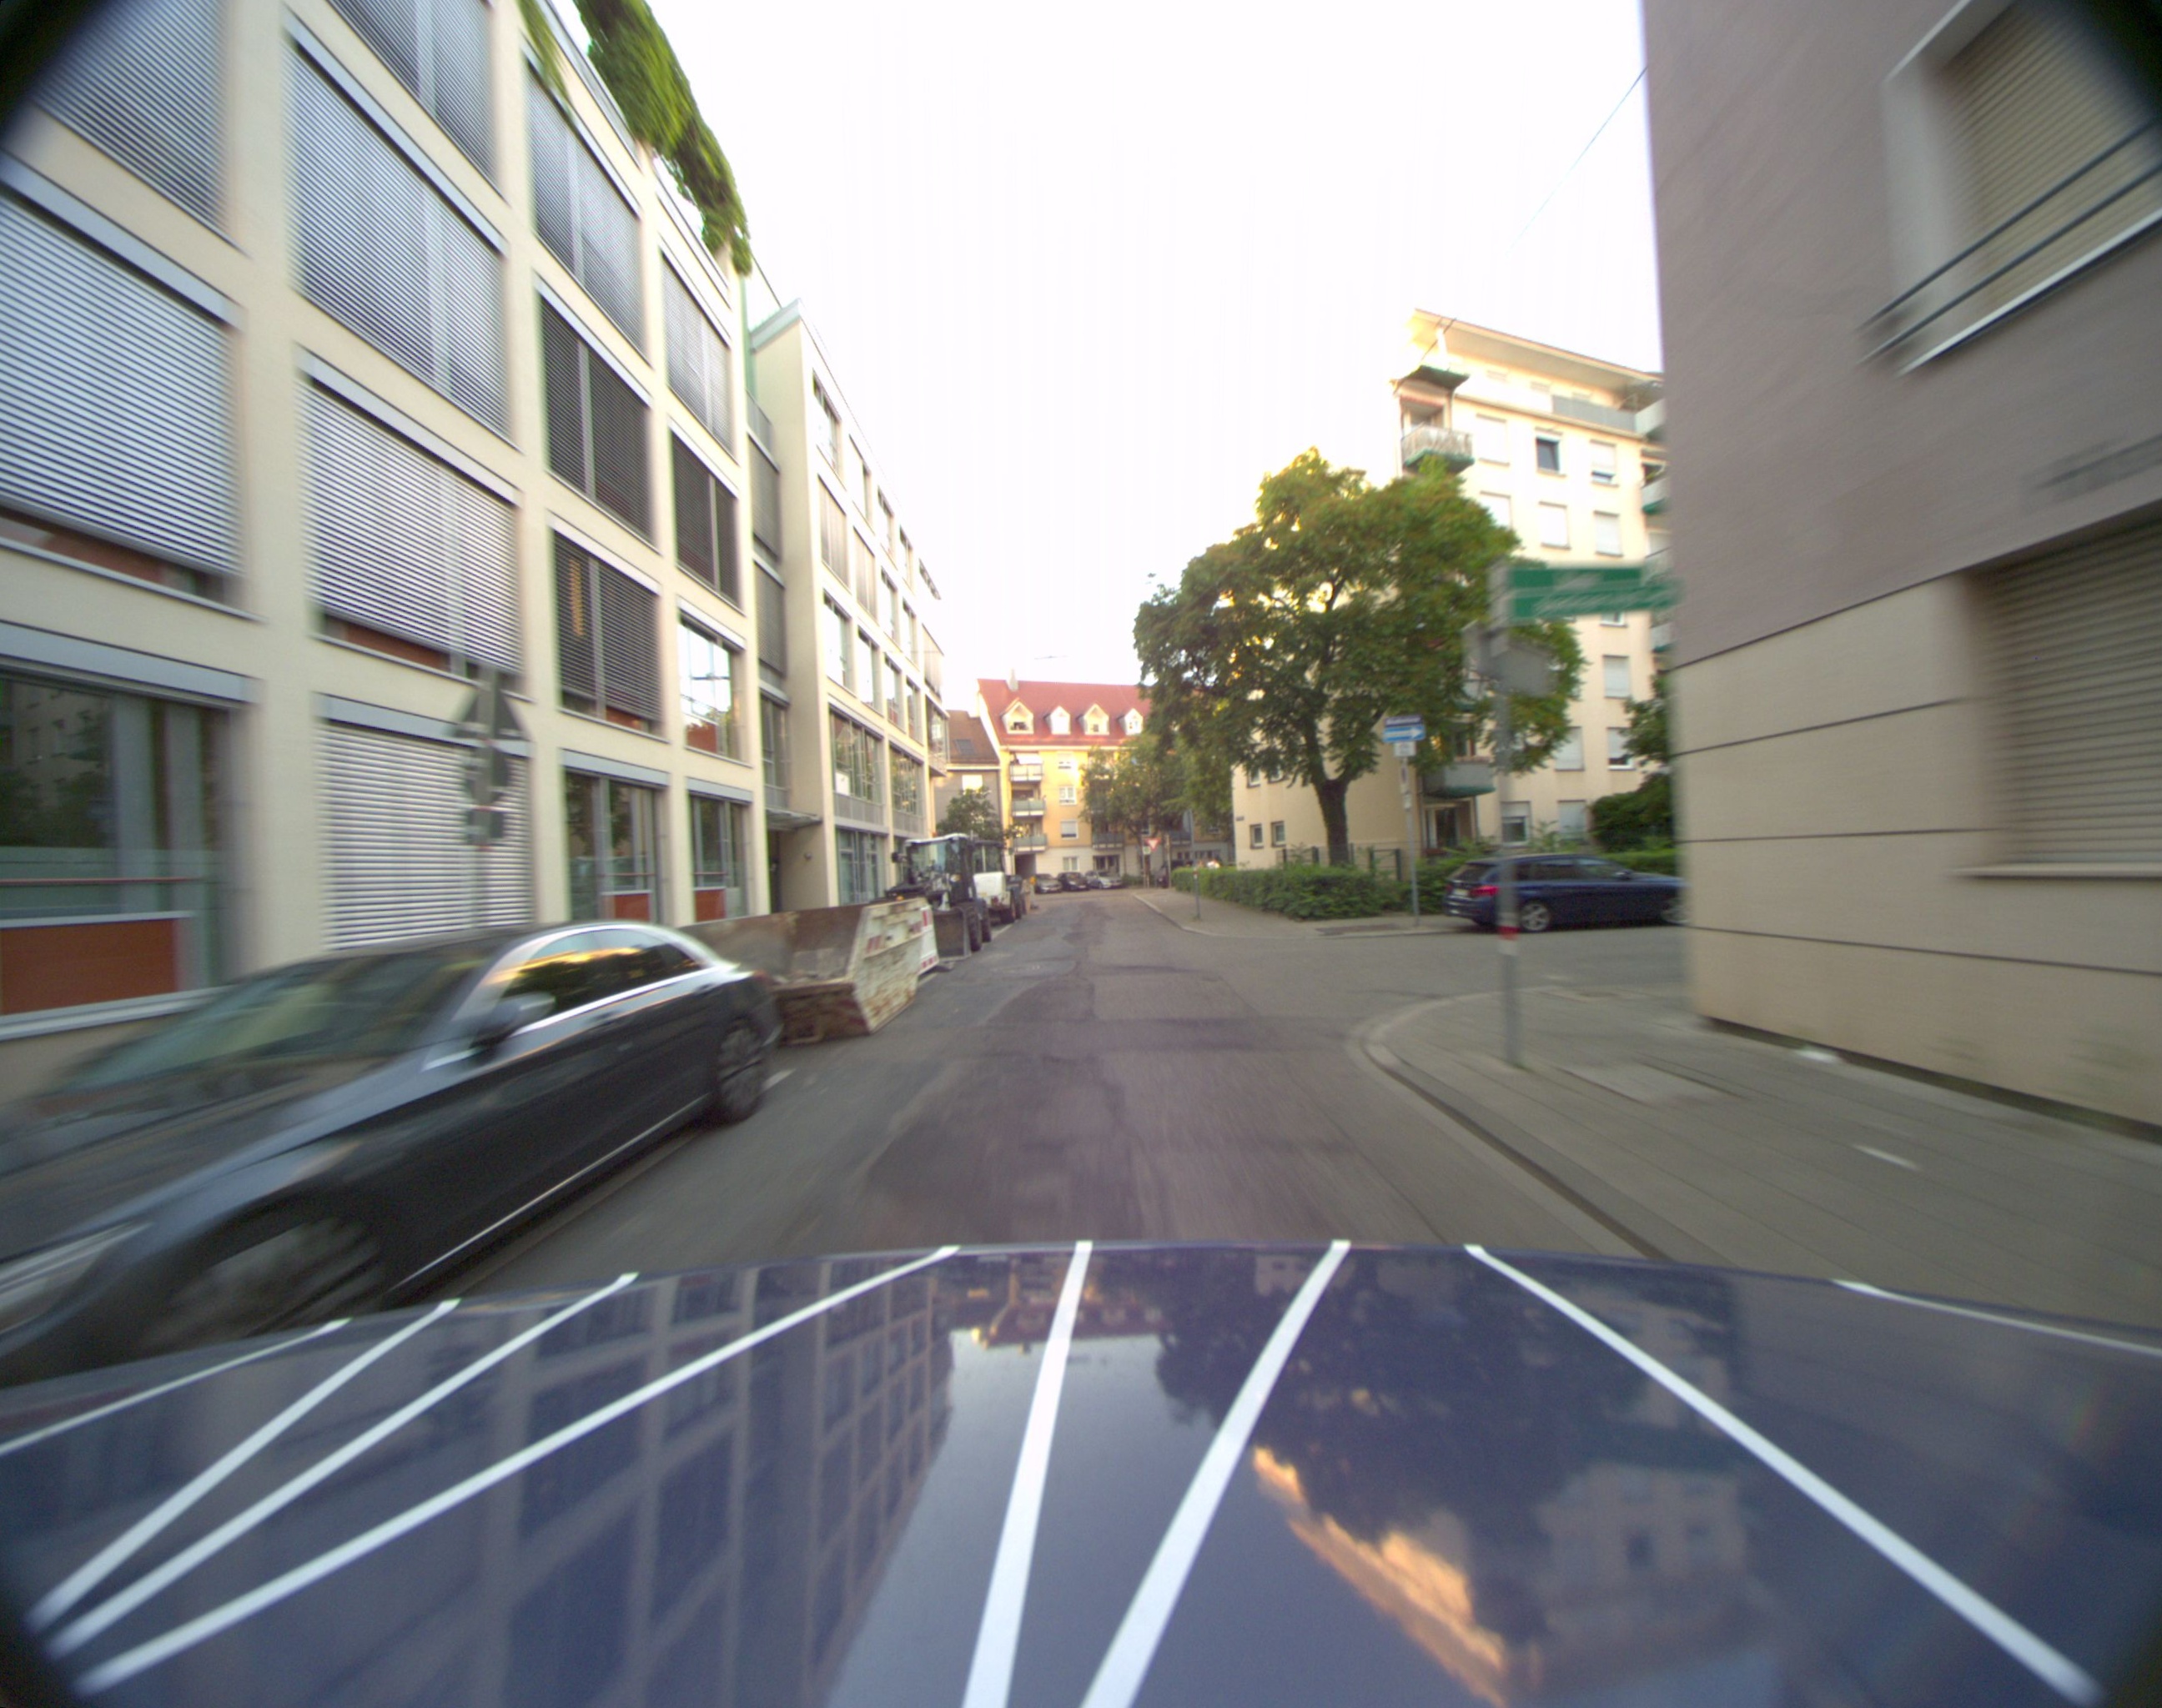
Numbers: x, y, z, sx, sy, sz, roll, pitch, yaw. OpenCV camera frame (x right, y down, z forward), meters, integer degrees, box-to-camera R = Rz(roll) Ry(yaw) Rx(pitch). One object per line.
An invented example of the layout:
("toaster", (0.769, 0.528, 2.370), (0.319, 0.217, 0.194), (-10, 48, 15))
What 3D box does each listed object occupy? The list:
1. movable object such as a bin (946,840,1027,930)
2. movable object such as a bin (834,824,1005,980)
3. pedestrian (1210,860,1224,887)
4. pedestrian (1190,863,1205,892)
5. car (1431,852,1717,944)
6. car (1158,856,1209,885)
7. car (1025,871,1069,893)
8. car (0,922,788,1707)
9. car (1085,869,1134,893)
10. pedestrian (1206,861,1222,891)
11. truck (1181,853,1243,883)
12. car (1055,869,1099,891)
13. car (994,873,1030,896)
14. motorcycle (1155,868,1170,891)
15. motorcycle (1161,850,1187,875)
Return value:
("movable object such as a bin", (-2.958, 0.955, 24.676), (1.800, 2.618, 4.112), (-3, -1, 3))
("movable object such as a bin", (-3.068, 0.876, 15.905), (2.172, 2.580, 5.544), (-3, -1, 1))
("pedestrian", (8.163, 1.173, 45.627), (0.448, 1.562, 0.660), (-4, -1, -17))
("pedestrian", (7.207, 1.458, 47.089), (0.697, 1.777, 0.530), (-4, -1, 28))
("car", (9.301, 0.814, 14.577), (4.356, 1.449, 1.686), (-3, -1, -1))
("car", (8.265, 1.287, 61.583), (2.038, 2.121, 4.625), (-3, 2, -21))
("car", (-2.593, 2.108, 57.419), (1.874, 1.499, 4.287), (-3, -1, -22))
("car", (-3.124, 1.226, 3.485), (1.698, 1.397, 4.480), (-4, -1, 1))
("car", (2.168, 2.150, 59.250), (1.838, 1.693, 4.804), (-3, -1, -23))
("pedestrian", (8.140, 1.367, 46.483), (0.666, 1.777, 0.698), (-3, -1, -17))
("truck", (10.708, 1.097, 62.782), (2.263, 2.121, 6.011), (-3, 3, -21))
("car", (-0.367, 2.026, 58.245), (1.855, 1.553, 4.074), (-3, -1, -23))
("car", (-5.118, 2.219, 56.296), (1.747, 1.517, 3.355), (-3, 1, -21))
("motorcycle", (5.143, 1.608, 48.039), (0.722, 1.366, 2.226), (-3, -1, 9))
("motorcycle", (6.047, 0.568, 49.664), (0.692, 1.484, 2.221), (-3, -1, -20))
